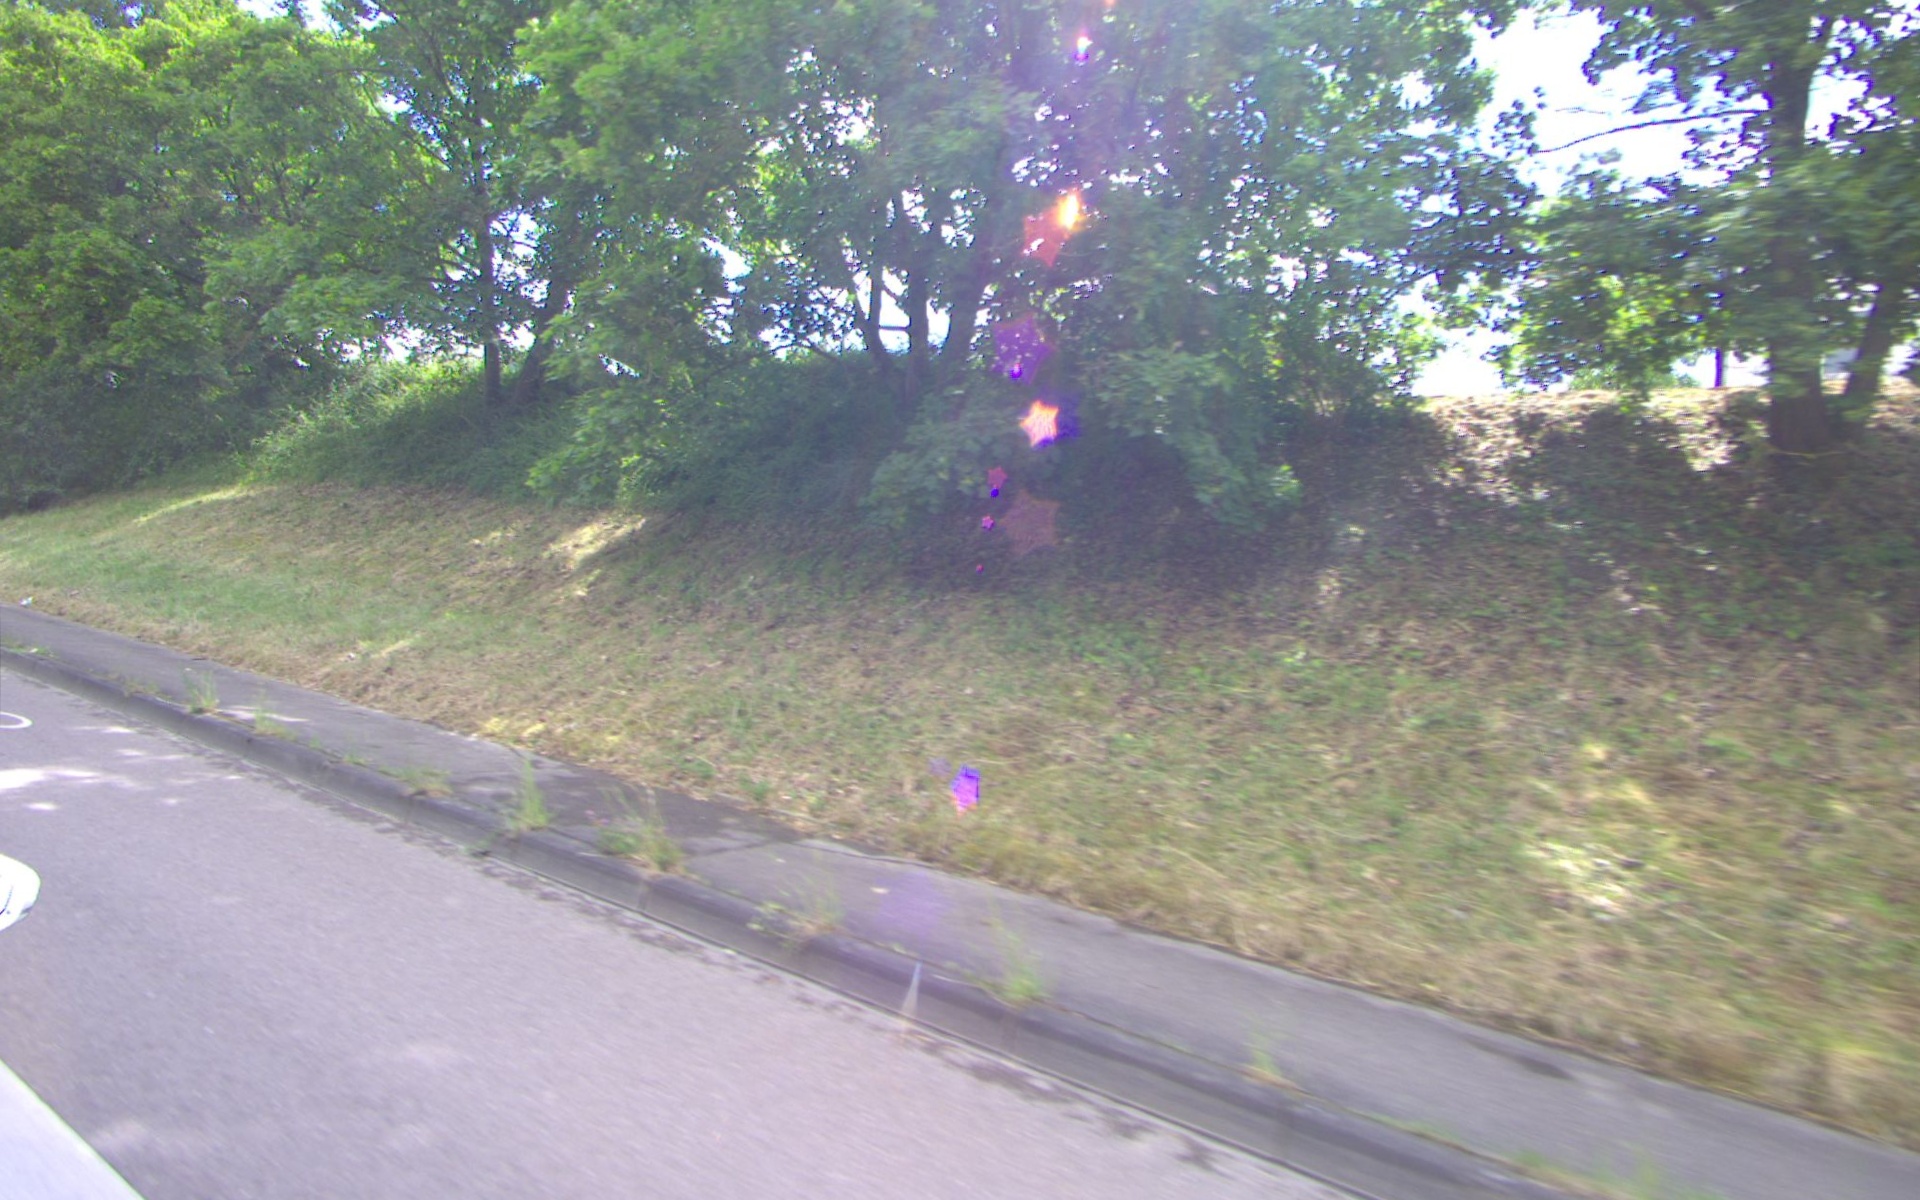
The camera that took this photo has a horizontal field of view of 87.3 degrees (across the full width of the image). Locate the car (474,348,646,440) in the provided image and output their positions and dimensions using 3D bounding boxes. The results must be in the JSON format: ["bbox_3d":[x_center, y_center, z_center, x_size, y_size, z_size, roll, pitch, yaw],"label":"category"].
[{"bbox_3d":[-9.728,-4.941,24.384,3.976,1.707,1.647,7,-2,31],"label":"car"}]

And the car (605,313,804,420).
[{"bbox_3d":[-5.473,-4.889,21.424,3.976,1.707,1.647,7,-2,31],"label":"car"}]
